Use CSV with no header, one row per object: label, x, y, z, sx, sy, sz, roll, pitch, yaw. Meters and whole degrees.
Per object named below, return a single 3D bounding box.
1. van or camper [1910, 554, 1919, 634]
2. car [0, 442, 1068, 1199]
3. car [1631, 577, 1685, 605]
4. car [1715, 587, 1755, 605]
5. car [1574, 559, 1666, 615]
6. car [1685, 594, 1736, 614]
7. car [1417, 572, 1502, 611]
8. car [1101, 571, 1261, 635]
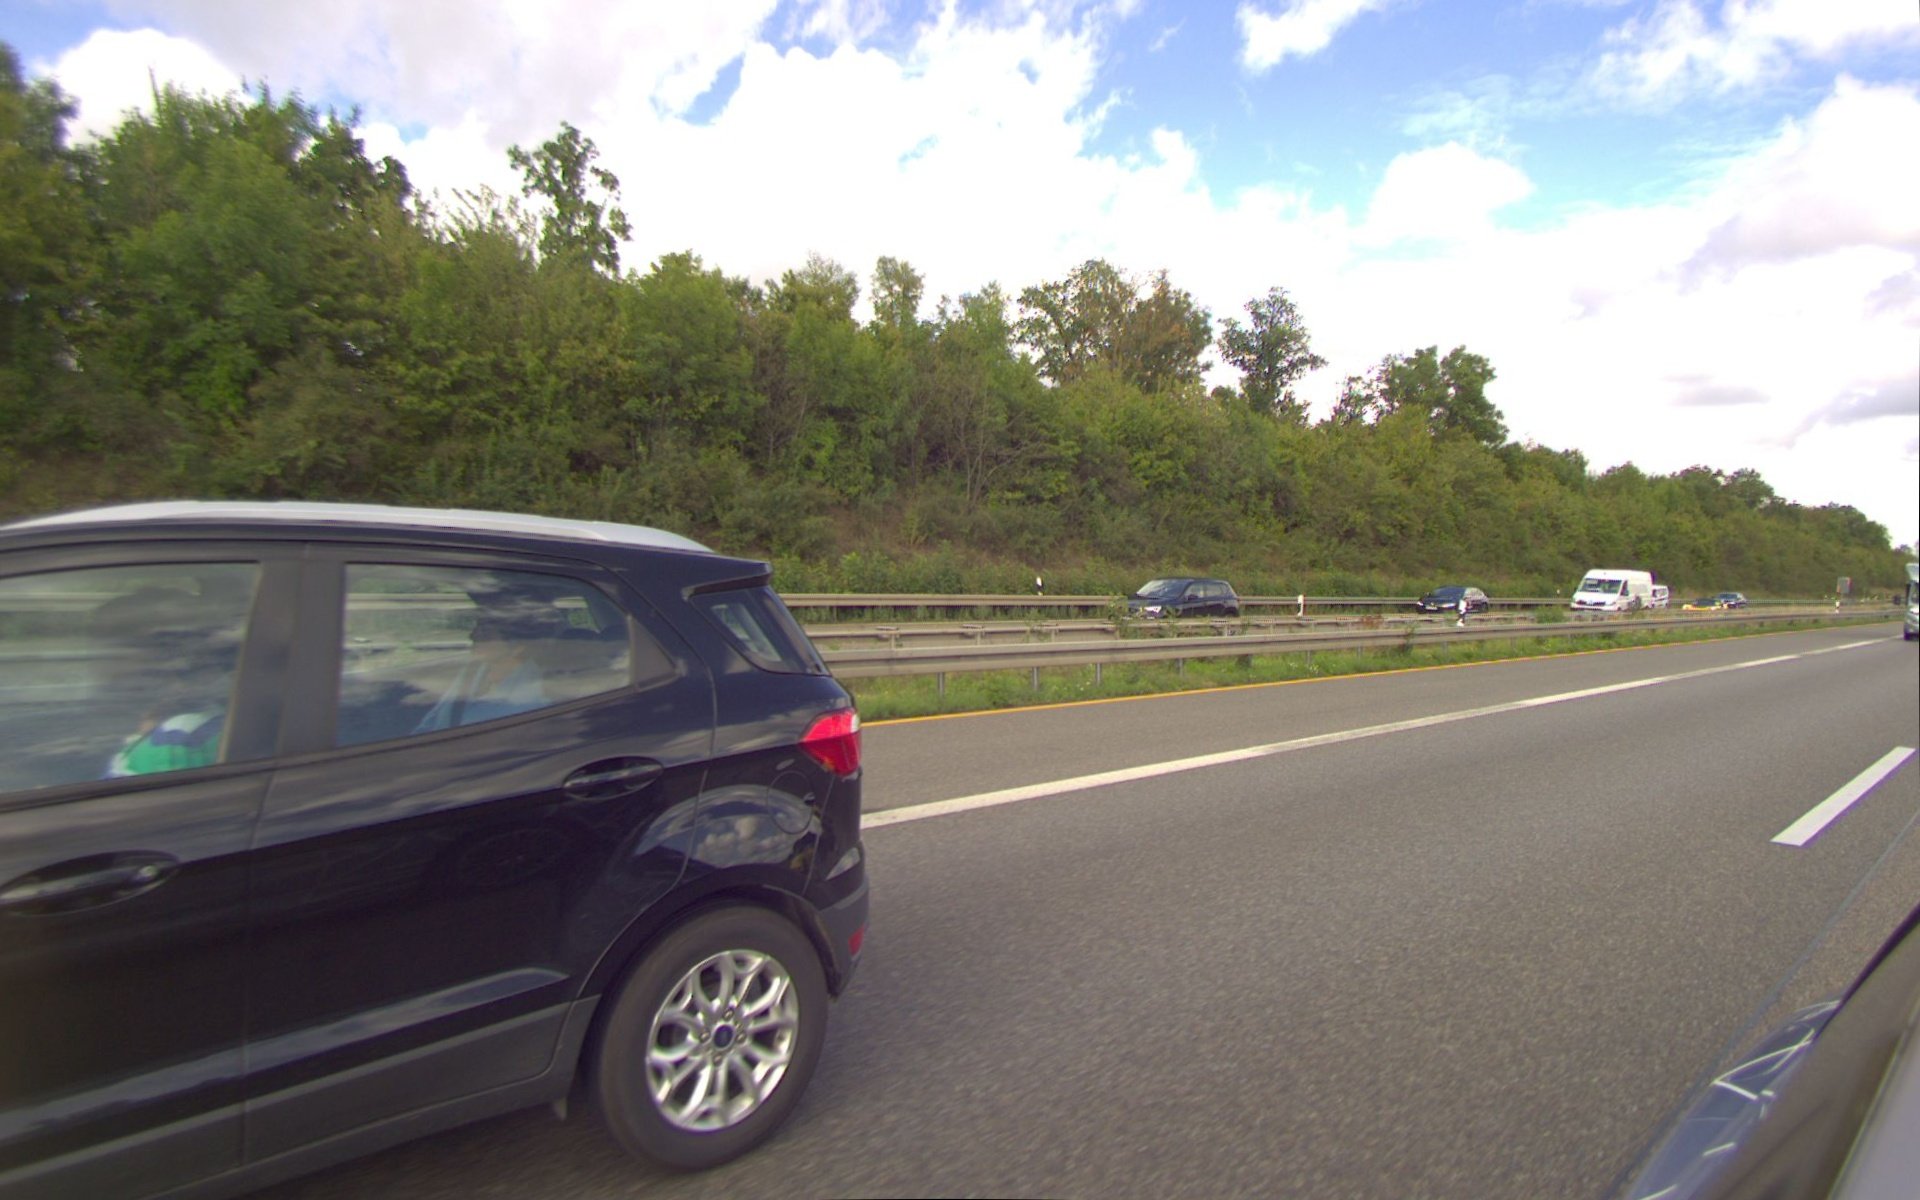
van or camper,36.411,-0.214,36.465,7.528,2.756,2.473,0,0,-41
car,-1.727,0.519,2.553,4.043,1.584,1.700,0,1,-42
car,46.032,-0.561,66.712,4.680,1.774,1.847,0,1,-41
car,62.758,-0.310,81.916,4.095,1.433,1.715,0,2,-41
car,33.168,-0.638,50.781,6.625,2.586,2.074,0,2,-41
car,46.063,0.234,62.099,4.096,1.196,1.715,0,1,-41
car,23.067,-0.385,46.642,4.682,1.622,1.847,0,3,-42
car,5.984,0.051,27.163,4.446,1.502,1.847,0,3,-41
